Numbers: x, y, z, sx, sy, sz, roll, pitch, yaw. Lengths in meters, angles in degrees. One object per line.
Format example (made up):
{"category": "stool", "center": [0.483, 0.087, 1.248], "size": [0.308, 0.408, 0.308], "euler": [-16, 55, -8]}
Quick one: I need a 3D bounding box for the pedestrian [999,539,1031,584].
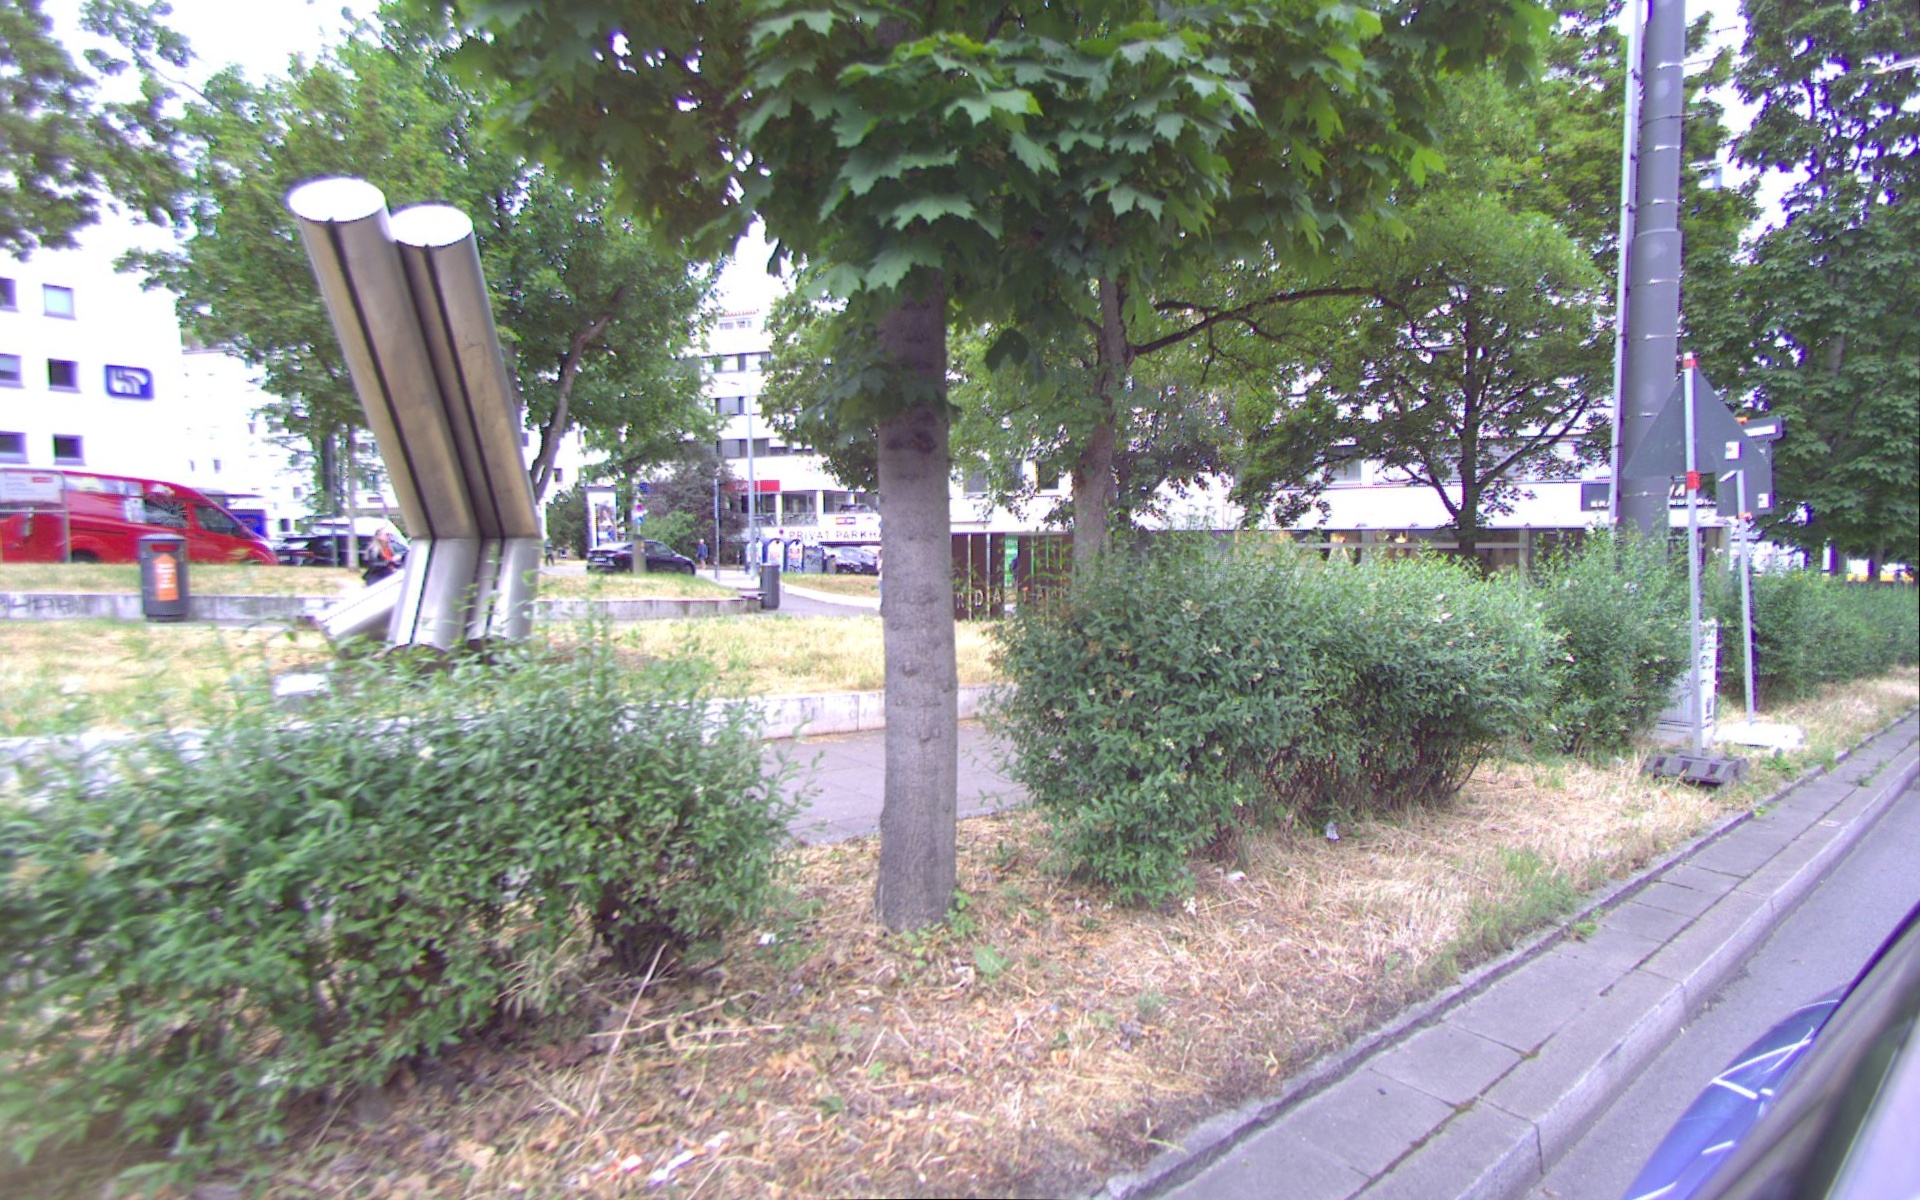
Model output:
{"category": "pedestrian", "center": [2.154, -1.517, 39.663], "size": [0.876, 1.722, 0.865], "euler": [2, 2, 38]}

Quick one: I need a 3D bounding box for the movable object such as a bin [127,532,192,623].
{"category": "movable object such as a bin", "center": [-10.004, -0.281, 12.648], "size": [0.598, 1.095, 0.670], "euler": [-2, 1, -40]}

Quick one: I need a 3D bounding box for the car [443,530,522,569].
{"category": "car", "center": [-25.585, -2.674, 54.158], "size": [4.438, 1.909, 1.974], "euler": [-1, 1, 37]}

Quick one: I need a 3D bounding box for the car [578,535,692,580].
{"category": "car", "center": [-11.852, -1.538, 37.184], "size": [1.733, 1.517, 4.119], "euler": [-1, 1, 23]}

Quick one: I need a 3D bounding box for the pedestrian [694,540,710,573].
{"category": "pedestrian", "center": [-13.599, -2.283, 53.339], "size": [0.567, 1.688, 0.498], "euler": [3, 2, 21]}

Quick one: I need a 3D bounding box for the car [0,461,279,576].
{"category": "car", "center": [-17.608, -1.572, 21.529], "size": [2.003, 2.054, 4.950], "euler": [-1, 0, 20]}

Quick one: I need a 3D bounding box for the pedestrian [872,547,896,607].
{"category": "pedestrian", "center": [-1.997, -0.604, 26.490], "size": [0.529, 1.541, 0.574], "euler": [2, 1, -8]}

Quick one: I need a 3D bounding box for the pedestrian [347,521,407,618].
{"category": "pedestrian", "center": [-8.205, -0.427, 14.239], "size": [0.609, 1.317, 0.549], "euler": [1, 2, -43]}

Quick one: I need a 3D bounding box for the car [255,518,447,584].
{"category": "car", "center": [-15.713, -1.246, 26.374], "size": [1.731, 1.527, 4.124], "euler": [-2, 1, 19]}

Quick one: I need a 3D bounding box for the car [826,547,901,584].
{"category": "car", "center": [-4.809, -1.726, 50.301], "size": [3.348, 1.669, 1.588], "euler": [3, 2, 22]}

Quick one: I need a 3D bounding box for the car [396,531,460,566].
{"category": "car", "center": [-30.386, -2.903, 57.793], "size": [3.638, 1.825, 1.601], "euler": [-1, 1, 33]}

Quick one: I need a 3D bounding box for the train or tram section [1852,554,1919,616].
{"category": "train or tram section", "center": [58.776, -0.875, 59.759], "size": [2.889, 3.602, 14.173], "euler": [-2, 2, 14]}

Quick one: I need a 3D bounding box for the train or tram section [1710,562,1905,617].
{"category": "train or tram section", "center": [60.989, -0.834, 73.628], "size": [2.839, 3.484, 14.219], "euler": [-2, 1, 3]}

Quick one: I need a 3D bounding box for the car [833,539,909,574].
{"category": "car", "center": [-4.637, -2.268, 52.775], "size": [3.584, 1.694, 1.588], "euler": [3, 2, 22]}

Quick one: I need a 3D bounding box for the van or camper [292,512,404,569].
{"category": "van or camper", "center": [-27.579, -2.631, 45.540], "size": [5.404, 2.258, 2.273], "euler": [-1, 1, 35]}
